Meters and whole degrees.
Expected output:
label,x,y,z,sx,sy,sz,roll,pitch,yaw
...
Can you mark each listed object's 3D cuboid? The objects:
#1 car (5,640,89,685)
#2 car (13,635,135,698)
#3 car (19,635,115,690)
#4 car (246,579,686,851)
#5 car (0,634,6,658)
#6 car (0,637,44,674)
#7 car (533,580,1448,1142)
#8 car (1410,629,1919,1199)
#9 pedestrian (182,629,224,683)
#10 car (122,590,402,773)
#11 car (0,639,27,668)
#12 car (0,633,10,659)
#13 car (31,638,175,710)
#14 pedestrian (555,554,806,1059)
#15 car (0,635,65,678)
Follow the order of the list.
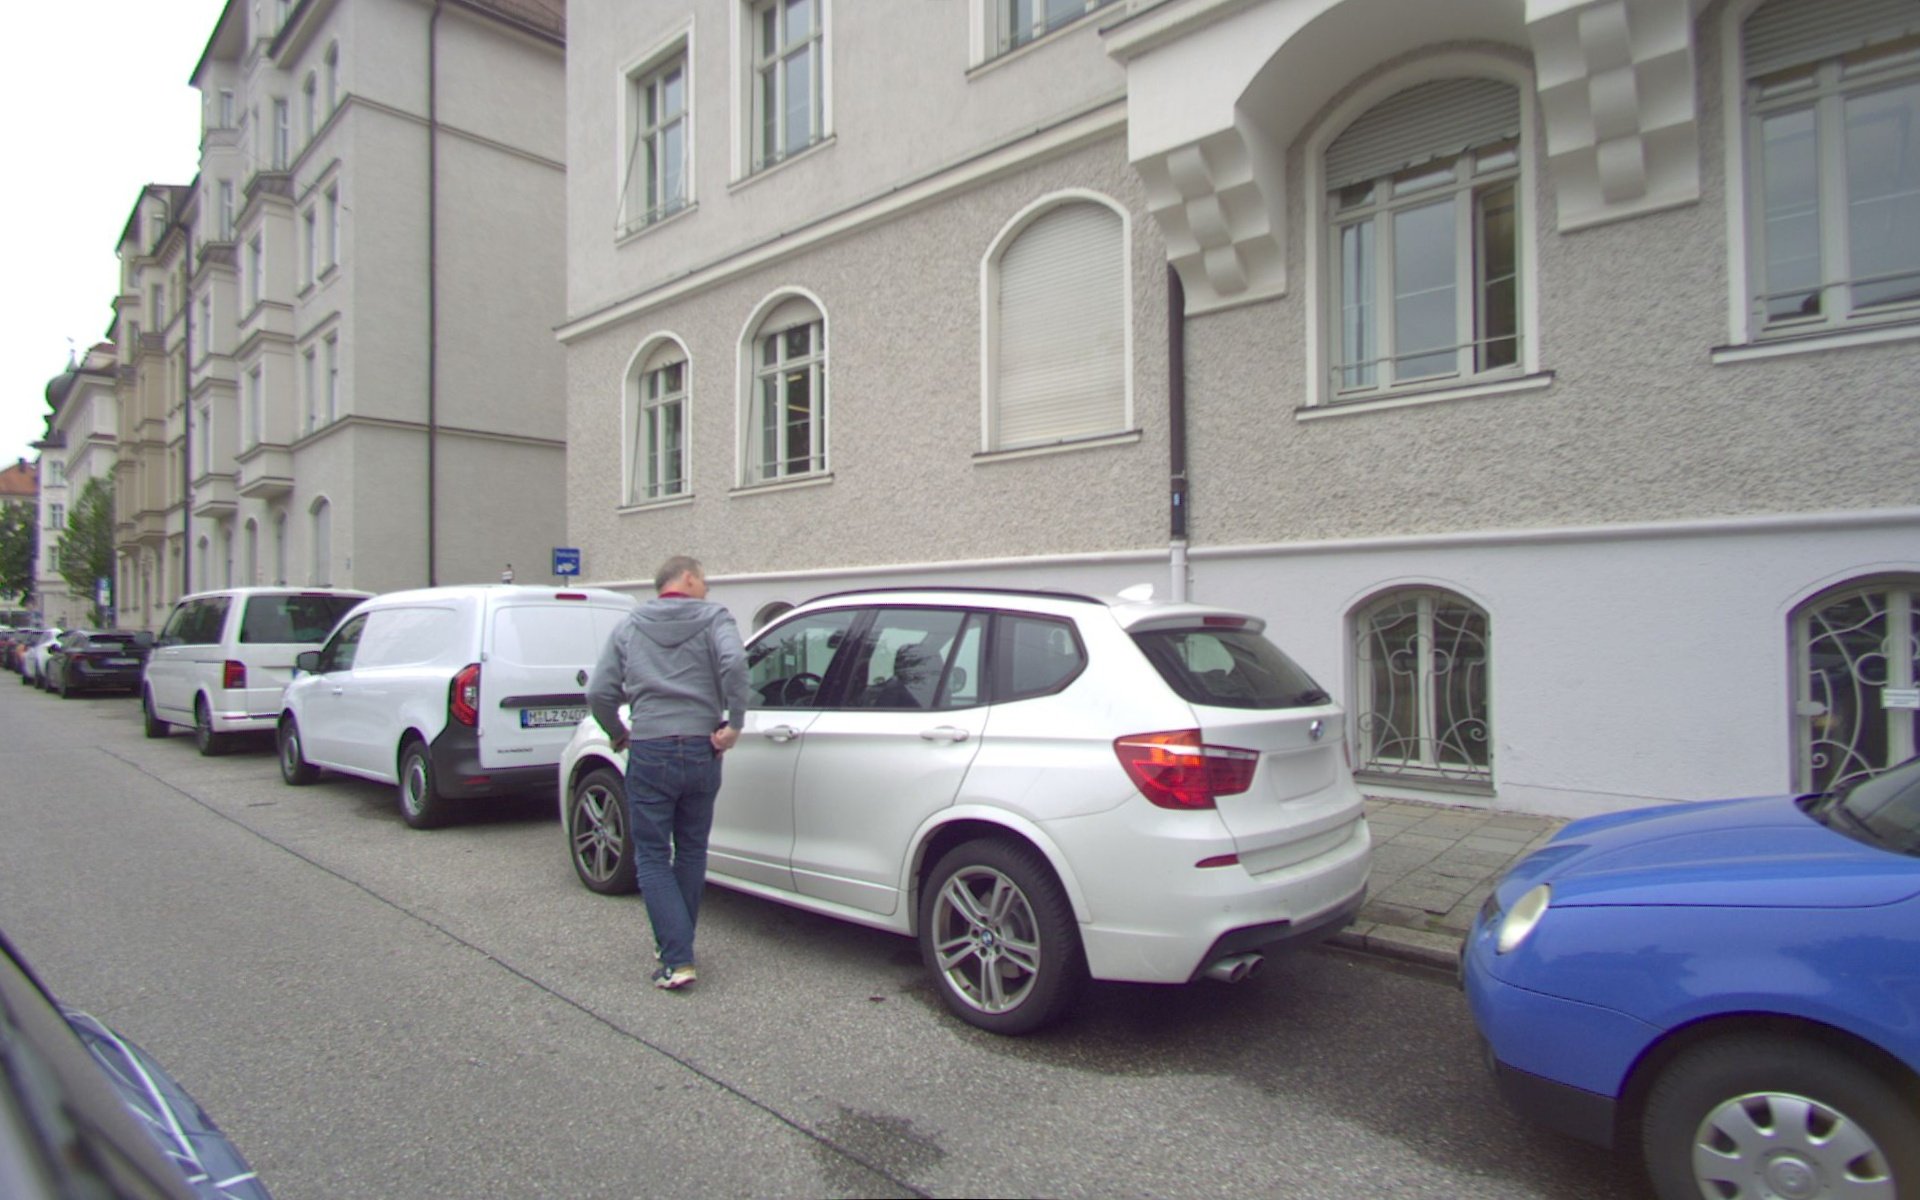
label,x,y,z,sx,sy,sz,roll,pitch,yaw
car,-29.978,2.014,33.205,3.731,1.373,1.785,-2,-3,44
car,-22.733,1.639,25.911,4.378,1.475,1.836,-2,-3,42
car,-25.852,1.748,29.259,3.939,1.475,1.785,-2,-3,44
car,-4.633,0.846,9.058,5.035,1.802,1.728,-2,-3,42
car,-62.842,2.975,65.348,3.921,1.542,1.605,-2,-3,44
car,-37.760,2.184,40.376,1.604,1.440,3.943,3,-3,-44
car,-0.211,0.827,5.072,4.494,1.614,1.728,-2,-3,41
car,3.115,0.785,2.223,3.653,1.425,1.677,-1,-3,34
pedestrian,-23.178,1.697,30.986,1.052,1.620,0.864,-2,-2,43
car,-9.212,0.954,13.178,4.955,1.953,1.836,-2,-3,42
car,-48.111,2.659,50.716,3.688,1.440,1.605,-2,-3,42
car,-58.982,2.768,61.514,3.690,1.542,1.605,-2,-3,44
car,-19.053,1.576,22.440,4.378,1.423,1.836,-2,-4,42
pedestrian,-1.080,0.732,4.113,0.862,1.769,0.966,-1,-1,-9
car,-33.598,2.017,36.550,3.943,1.467,1.604,-2,-3,45
